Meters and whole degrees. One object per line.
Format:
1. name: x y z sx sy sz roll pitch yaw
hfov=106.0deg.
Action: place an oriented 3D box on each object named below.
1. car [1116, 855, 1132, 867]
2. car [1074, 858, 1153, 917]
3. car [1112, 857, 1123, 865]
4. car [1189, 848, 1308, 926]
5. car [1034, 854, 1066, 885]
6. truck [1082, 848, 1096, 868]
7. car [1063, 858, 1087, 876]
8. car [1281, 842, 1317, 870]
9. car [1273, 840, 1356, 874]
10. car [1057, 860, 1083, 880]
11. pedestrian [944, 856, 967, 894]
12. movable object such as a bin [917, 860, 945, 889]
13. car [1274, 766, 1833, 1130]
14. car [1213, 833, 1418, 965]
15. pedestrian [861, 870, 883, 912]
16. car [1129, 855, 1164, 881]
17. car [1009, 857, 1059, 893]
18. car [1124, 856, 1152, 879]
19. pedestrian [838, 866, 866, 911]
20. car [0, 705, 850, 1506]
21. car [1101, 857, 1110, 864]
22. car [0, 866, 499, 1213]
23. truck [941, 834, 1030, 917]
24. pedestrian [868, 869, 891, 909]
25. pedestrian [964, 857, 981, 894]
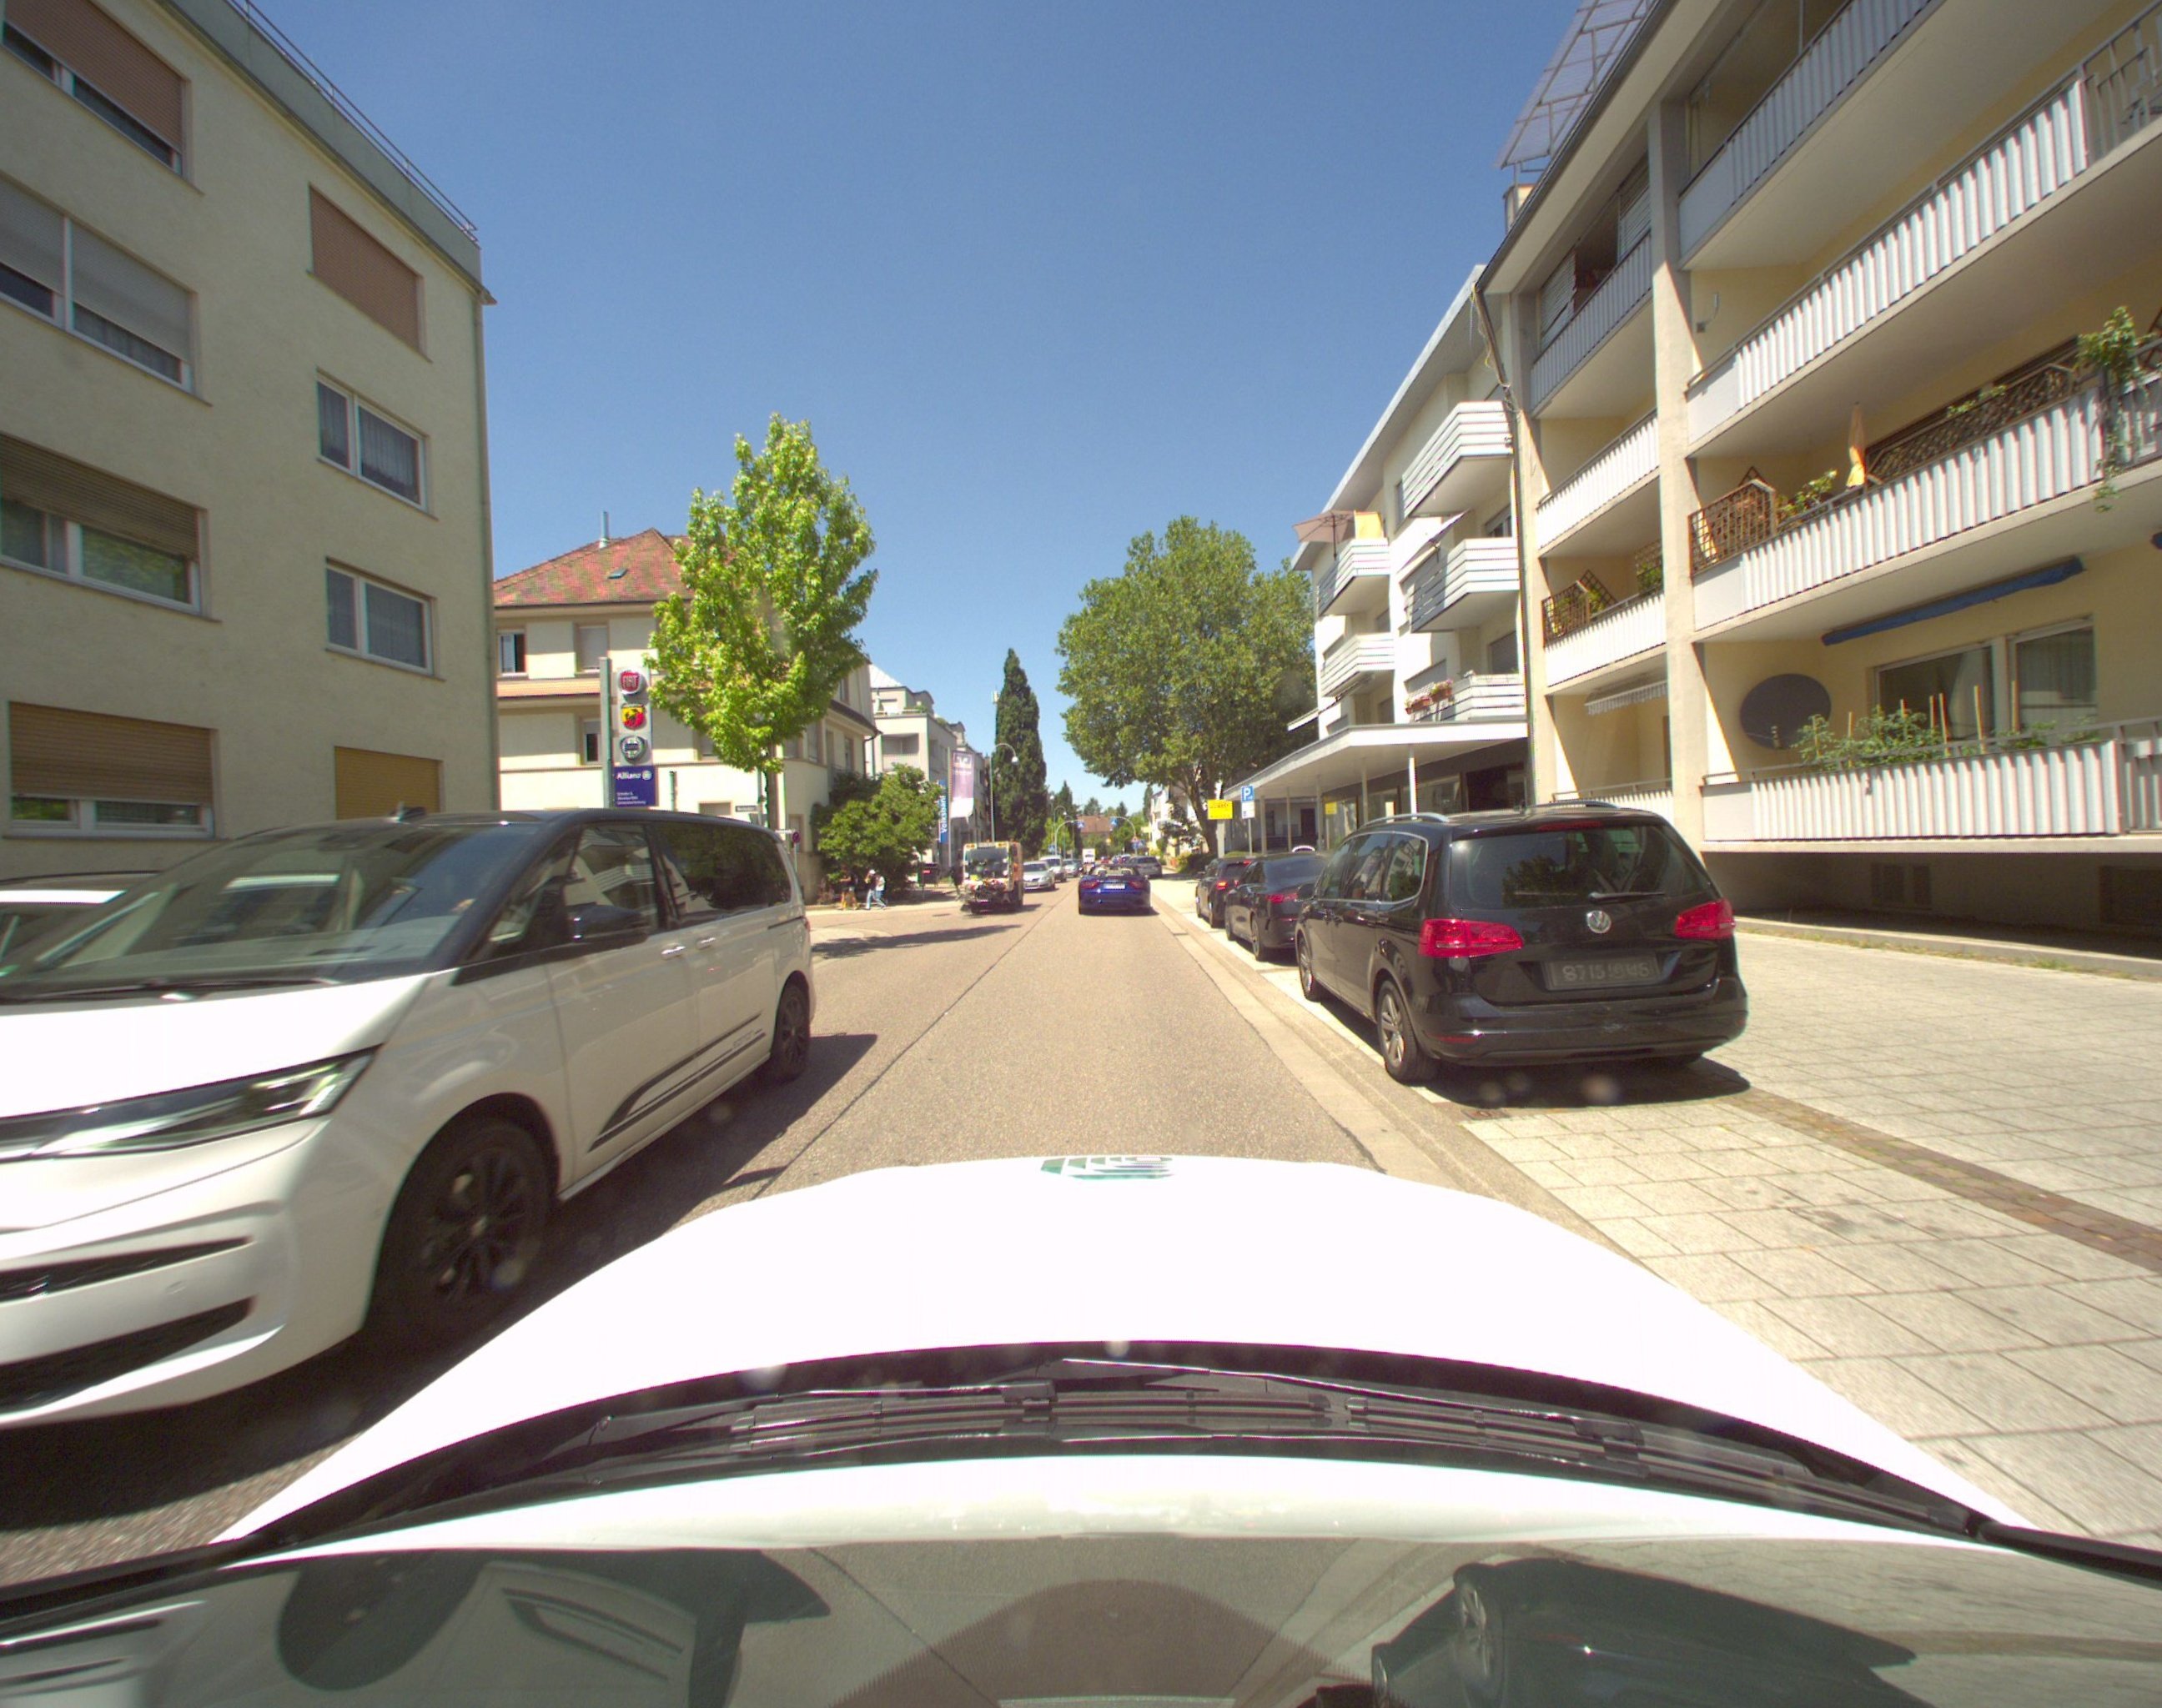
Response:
1. car: 5.841 0.928 109.966 1.944 1.476 4.138 -4 0 1
2. car: 0.862 0.837 22.609 1.969 1.398 4.628 0 1 1
3. car: 6.901 1.340 155.037 1.944 1.476 4.138 -4 0 1
4. car: 3.535 0.668 17.950 1.838 1.414 4.164 -4 -1 2
5. car: -1.972 0.980 53.206 1.764 1.767 4.137 -4 0 0
6. truck: 1.455 0.772 152.163 2.413 3.482 7.002 -4 0 0
7. car: -0.502 1.169 73.090 1.944 1.476 4.138 -4 0 1
8. car: 13.415 0.104 49.925 1.829 1.453 4.019 -5 -1 18
9. car: 11.970 0.168 41.991 1.854 1.453 3.965 -4 -1 -26
10. car: -0.848 1.237 64.471 1.763 1.476 4.138 -4 0 1
11. pedestrian: -5.773 0.974 37.466 0.882 1.749 0.818 -1 -2 3
12. movable object such as a bin: -8.667 1.170 47.074 1.353 1.494 1.296 -4 2 -2
13. car: 3.002 0.453 6.542 1.985 1.798 4.574 -4 1 4
14. car: 3.291 0.597 12.448 1.887 1.530 4.571 -4 -1 2
15. pedestrian: -7.339 1.287 28.606 0.598 1.371 0.690 -4 2 -19
16. car: 4.195 0.887 53.019 1.969 1.450 4.351 -4 0 2
17. car: -2.232 0.984 39.688 1.942 1.508 4.798 -4 0 2
18. car: 4.558 1.056 65.264 1.969 1.556 4.351 -4 0 2
19. pedestrian: -8.147 1.202 28.938 0.601 1.530 0.686 -5 2 -43
20. car: -2.925 0.671 4.445 1.901 1.922 4.903 -4 -1 -1
21. car: 5.037 1.361 168.652 1.763 1.476 4.138 -2 -1 1
22. car: -6.120 0.934 5.048 1.818 1.619 4.392 -1 0 0
23. truck: -2.687 0.562 24.080 1.798 2.117 4.717 -4 0 2
24. pedestrian: -7.363 1.278 29.689 0.599 1.371 0.689 -4 2 -26
25. pedestrian: -4.978 0.999 37.471 0.629 1.691 0.962 -1 -2 1
